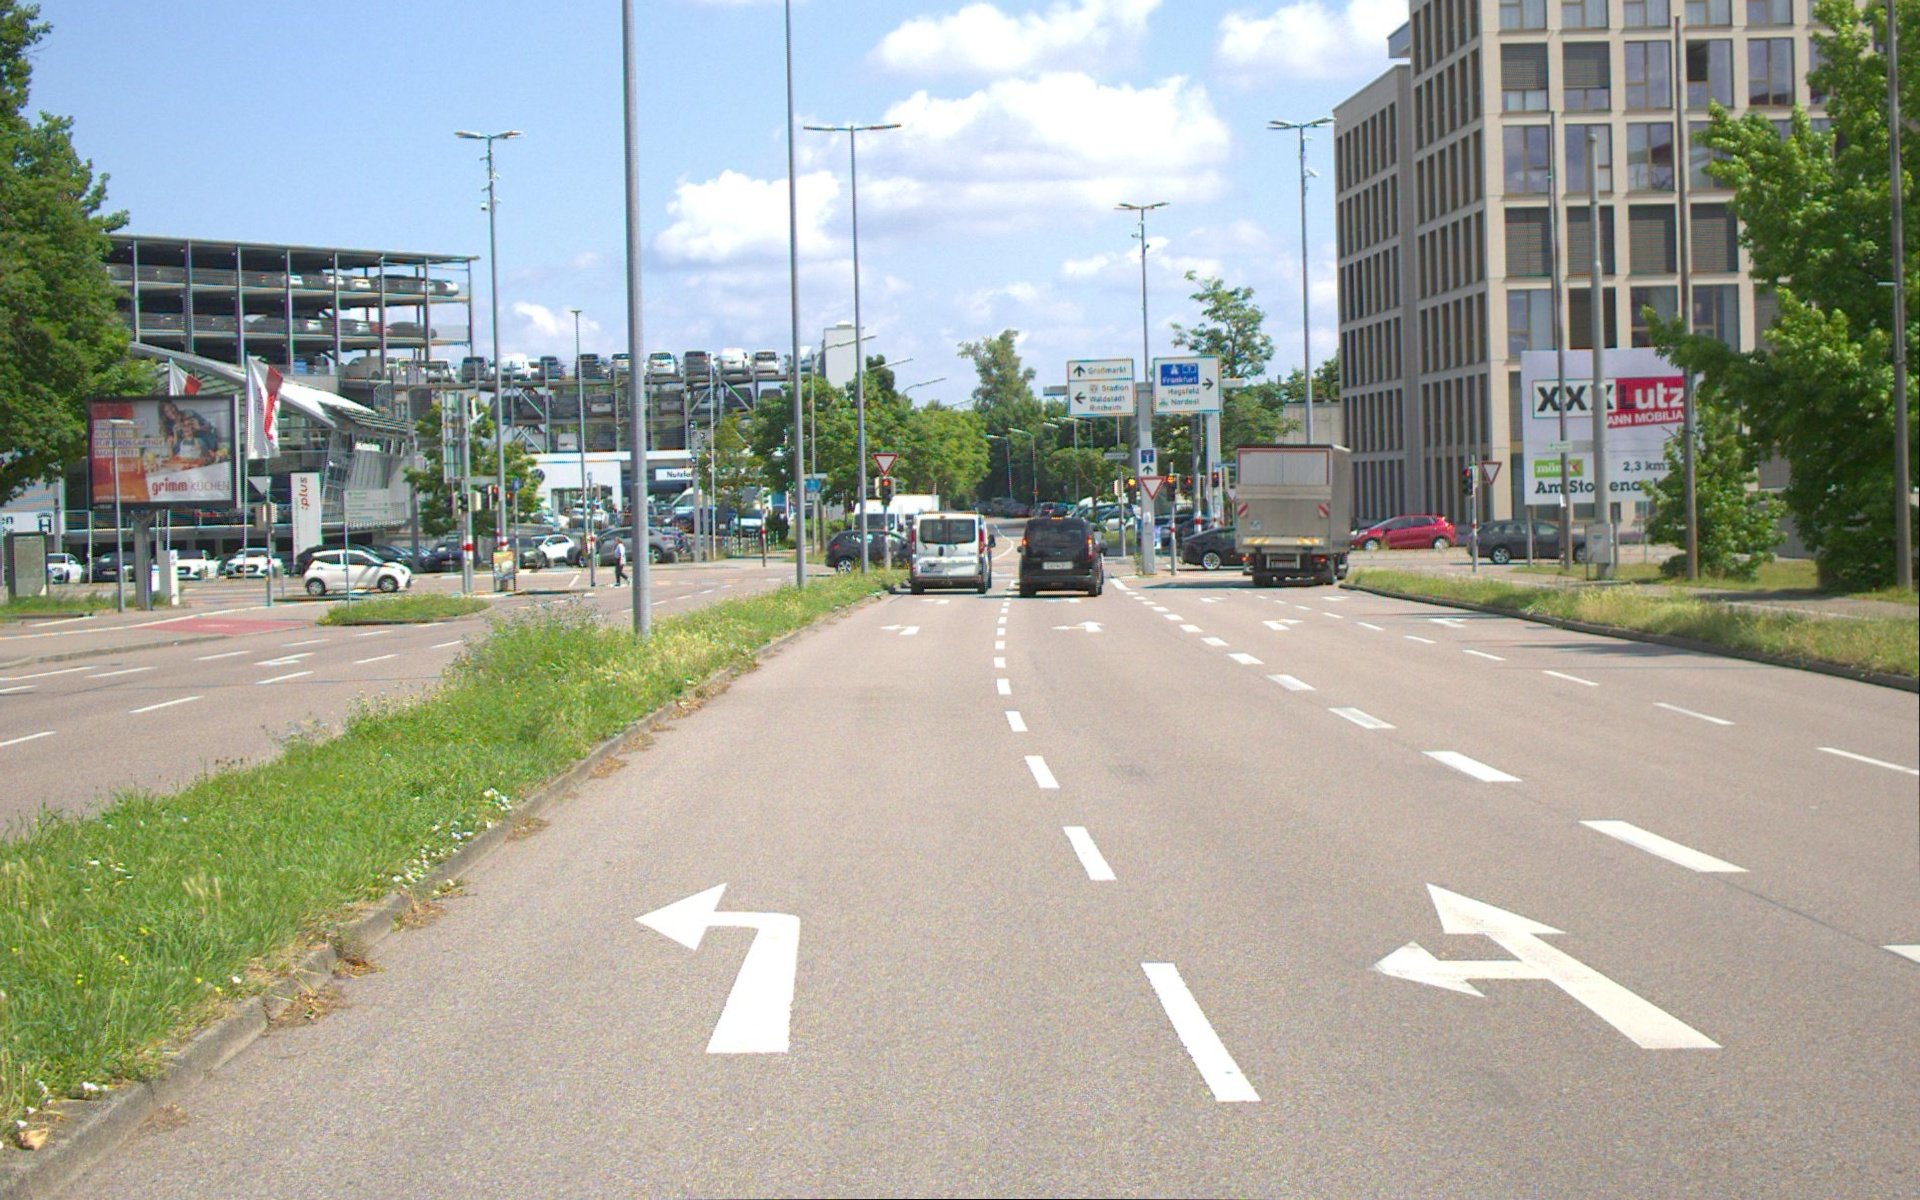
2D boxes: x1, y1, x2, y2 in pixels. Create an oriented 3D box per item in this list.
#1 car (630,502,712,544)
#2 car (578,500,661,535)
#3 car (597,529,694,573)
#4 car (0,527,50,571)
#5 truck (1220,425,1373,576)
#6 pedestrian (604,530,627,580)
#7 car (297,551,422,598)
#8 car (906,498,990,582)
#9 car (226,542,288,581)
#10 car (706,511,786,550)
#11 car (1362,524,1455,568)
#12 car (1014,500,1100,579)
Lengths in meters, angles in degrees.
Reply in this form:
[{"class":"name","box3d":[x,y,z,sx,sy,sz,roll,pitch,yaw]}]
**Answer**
[{"class":"car","box3d":[-12.976,-3.465,154.451,3.507,1.707,1.604,-2,2,-2]},{"class":"car","box3d":[-17.275,-4.176,174.469,4.164,1.707,1.689,0,2,-4]},{"class":"car","box3d":[-13.133,-2.063,143.595,3.861,1.634,1.858,-2,2,-2]},{"class":"car","box3d":[-37.082,-2.009,135.251,1.756,1.654,3.617,-1,2,-3]},{"class":"truck","box3d":[9.291,-2.744,93.978,3.131,3.927,8.854,0,2,12]},{"class":"pedestrian","box3d":[-10.556,-1.380,105.360,0.470,1.507,0.511,0,1,26]},{"class":"car","box3d":[-19.661,-0.835,112.676,3.850,1.461,1.696,-1,2,-3]},{"class":"car","box3d":[-0.275,-1.502,84.900,1.856,2.011,4.000,0,2,3]},{"class":"car","box3d":[-28.048,-1.560,137.277,1.776,1.445,4.030,-1,2,-3]},{"class":"car","box3d":[-10.893,-3.539,175.011,3.986,1.919,1.827,-1,1,-5]},{"class":"car","box3d":[16.768,-2.032,128.598,3.272,1.400,1.334,-1,10,-1]},{"class":"car","box3d":[2.286,-1.415,80.009,1.820,1.802,4.000,0,1,4]}]
